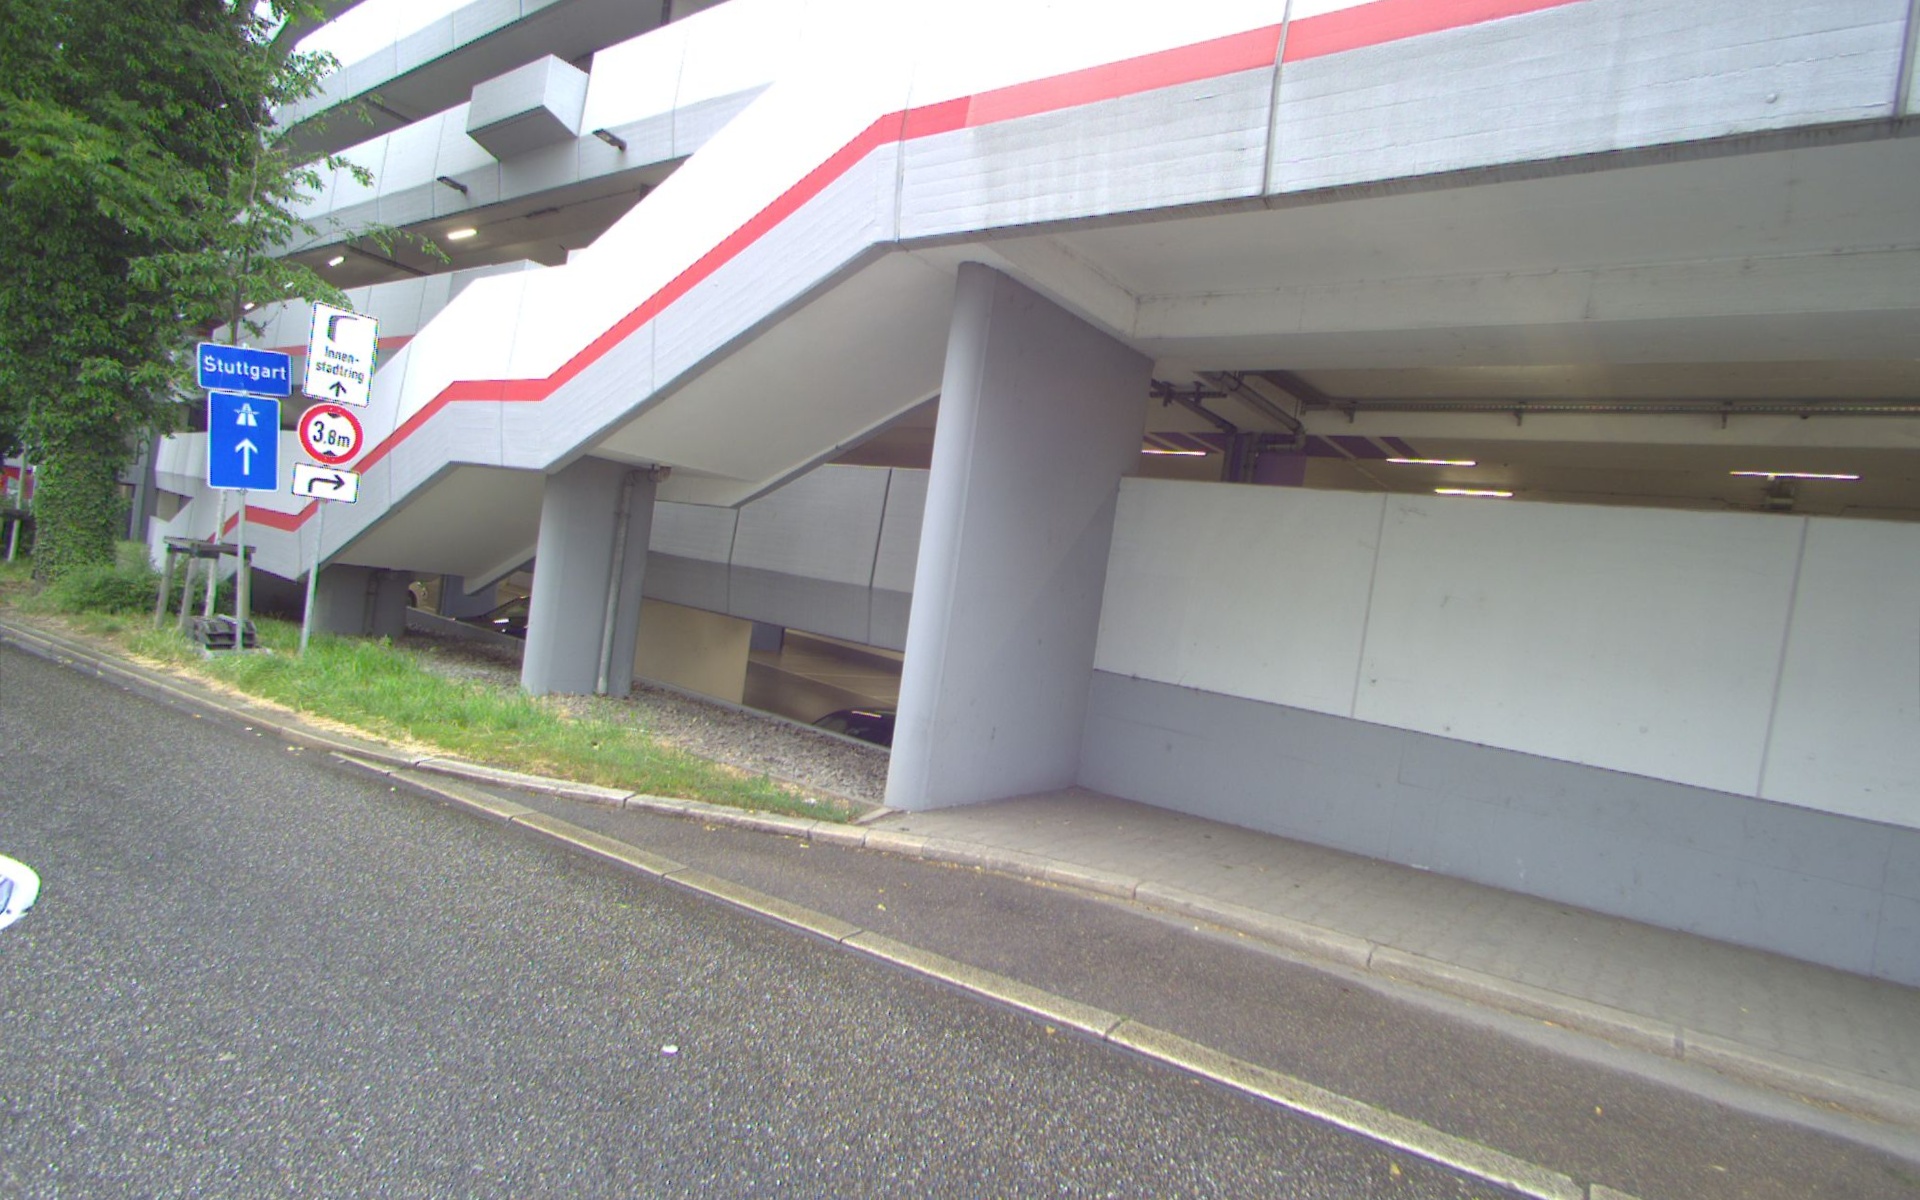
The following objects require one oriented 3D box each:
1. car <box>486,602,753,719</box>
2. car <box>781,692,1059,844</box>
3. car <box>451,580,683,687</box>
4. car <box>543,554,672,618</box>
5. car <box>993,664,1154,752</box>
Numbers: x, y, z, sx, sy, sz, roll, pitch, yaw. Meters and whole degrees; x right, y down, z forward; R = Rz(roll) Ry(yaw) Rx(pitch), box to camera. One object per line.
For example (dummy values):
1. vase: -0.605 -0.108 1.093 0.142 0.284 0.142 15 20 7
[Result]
1. car: -5.829 1.120 17.627 1.810 1.643 3.988 7 -1 36
2. car: -0.445 2.342 14.721 1.810 1.559 3.931 11 2 37
3. car: -7.633 0.712 19.809 1.782 1.559 3.734 11 2 37
4. car: -13.015 -0.490 37.269 1.792 1.804 3.979 7 0 44
5. car: 2.754 2.545 23.730 1.810 1.559 3.988 11 2 37
